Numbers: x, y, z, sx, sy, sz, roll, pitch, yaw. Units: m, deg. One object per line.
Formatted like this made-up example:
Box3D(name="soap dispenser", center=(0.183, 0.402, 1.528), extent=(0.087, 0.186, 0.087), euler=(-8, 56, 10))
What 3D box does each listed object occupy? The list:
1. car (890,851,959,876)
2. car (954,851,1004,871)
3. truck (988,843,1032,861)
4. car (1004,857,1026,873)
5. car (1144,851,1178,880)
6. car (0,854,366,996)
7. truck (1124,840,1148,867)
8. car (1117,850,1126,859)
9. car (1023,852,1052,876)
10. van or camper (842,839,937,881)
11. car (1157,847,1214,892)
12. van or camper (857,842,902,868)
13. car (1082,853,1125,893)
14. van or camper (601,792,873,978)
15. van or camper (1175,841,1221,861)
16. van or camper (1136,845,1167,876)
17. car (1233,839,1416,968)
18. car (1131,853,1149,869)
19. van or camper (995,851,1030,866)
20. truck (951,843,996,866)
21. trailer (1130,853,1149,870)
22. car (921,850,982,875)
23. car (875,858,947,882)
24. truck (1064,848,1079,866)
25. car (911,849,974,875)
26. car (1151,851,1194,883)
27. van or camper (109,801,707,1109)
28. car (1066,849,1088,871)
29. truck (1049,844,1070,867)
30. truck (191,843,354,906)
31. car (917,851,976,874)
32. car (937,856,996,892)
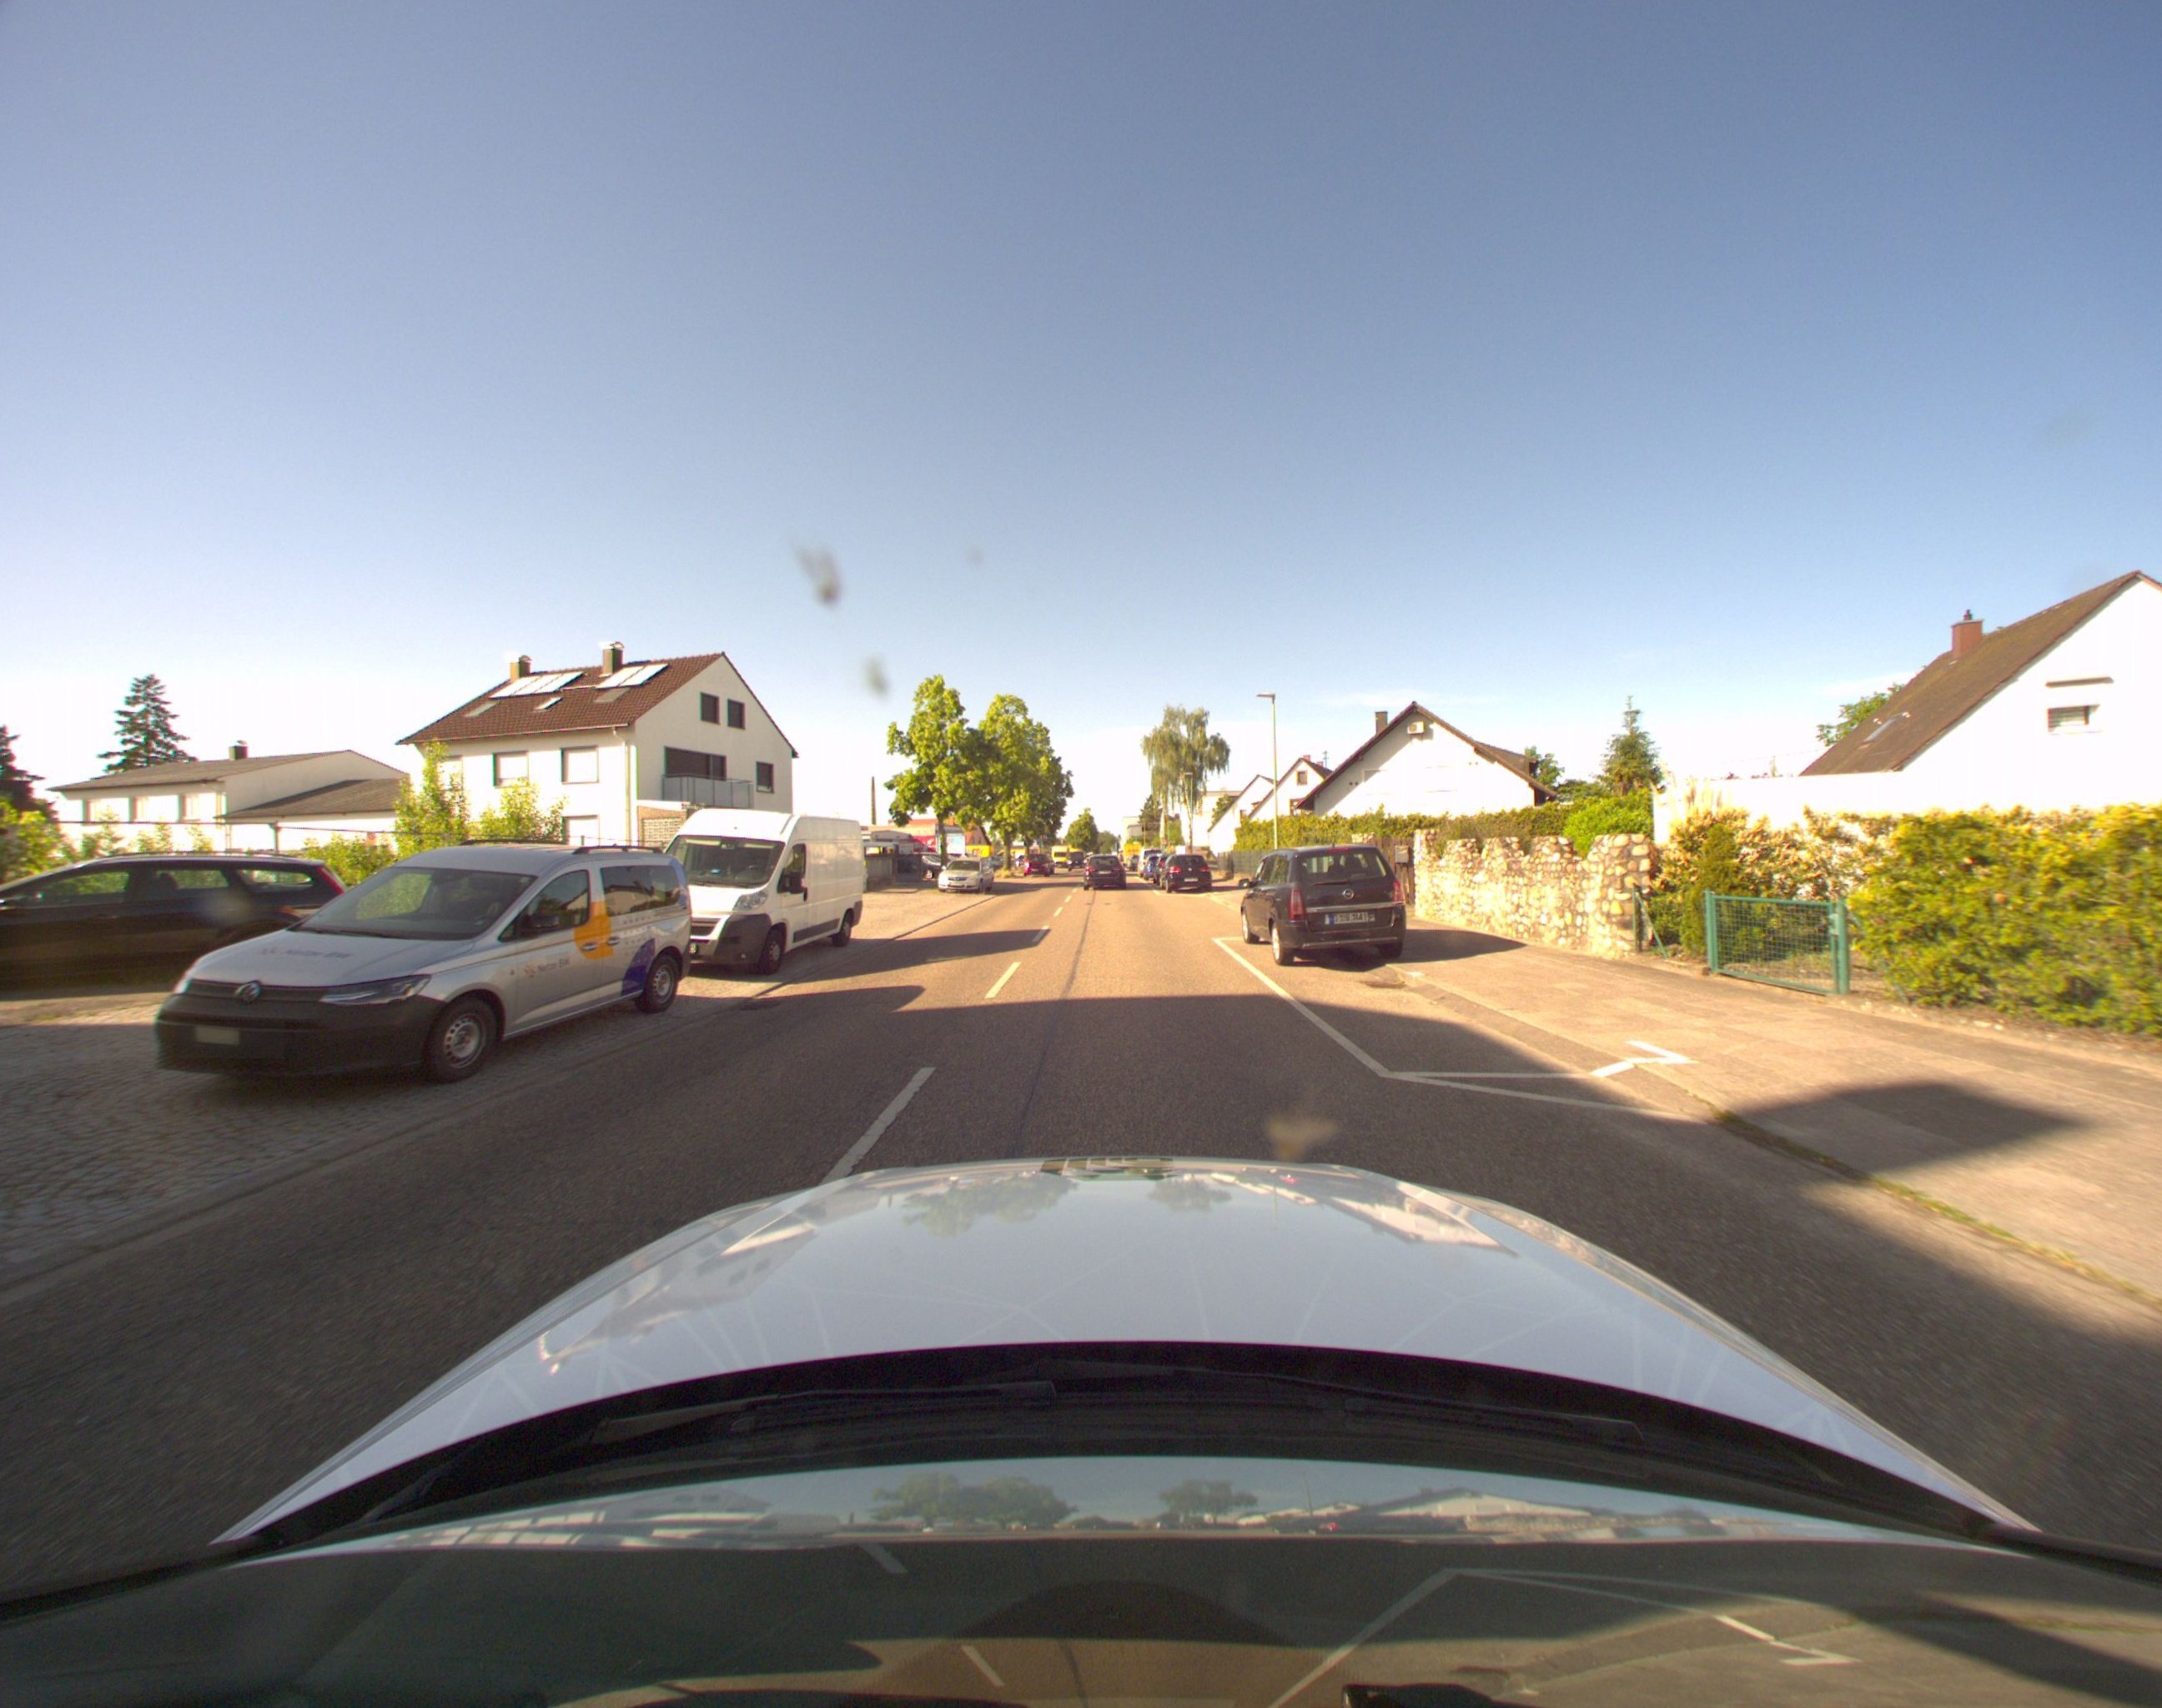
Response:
Box3D(name="car", center=(-10.727, 0.657, 55.899), extent=(4.227, 1.542, 1.769), euler=(-2, 1, 6))
Box3D(name="car", center=(-9.620, 0.651, 76.948), extent=(4.226, 1.728, 1.769), euler=(-1, 0, 7))
Box3D(name="truck", center=(-10.202, -0.324, 116.881), extent=(5.880, 2.567, 2.232), euler=(0, 0, 13))
Box3D(name="car", center=(-6.909, 1.162, 86.030), extent=(1.855, 1.590, 4.276), euler=(-1, -2, 1))
Box3D(name="car", center=(4.459, 0.625, 45.923), extent=(1.712, 1.505, 3.565), euler=(-1, 0, 2))
Box3D(name="car", center=(-11.830, 0.785, 9.998), extent=(1.594, 1.513, 4.415), euler=(-1, 0, 42))
Box3D(name="truck", center=(6.573, -0.028, 98.312), extent=(2.394, 2.936, 7.019), euler=(-3, -1, 2))
Box3D(name="car", center=(8.852, 0.125, 178.442), extent=(1.911, 1.825, 4.081), euler=(-1, 0, 2))
Box3D(name="car", center=(-3.272, 0.748, 62.433), extent=(1.796, 1.752, 4.344), euler=(1, 0, 2))
Box3D(name="van or camper", center=(-11.187, 0.376, 47.621), extent=(4.857, 2.320, 2.252), euler=(-1, -1, 14))
Box3D(name="car", center=(4.045, 0.566, 32.021), extent=(1.770, 1.659, 3.816), euler=(-1, 0, 0))
Box3D(name="van or camper", center=(-21.836, 0.142, 88.672), extent=(2.150, 2.715, 6.291), euler=(-1, 0, 12))
Box3D(name="car", center=(1.000, 0.747, 34.371), extent=(1.705, 1.532, 3.690), euler=(-2, 0, 3))
Box3D(name="van or camper", center=(-5.399, 0.418, 13.882), extent=(2.115, 2.490, 5.556), euler=(1, 0, 1))
Box3D(name="van or camper", center=(15.850, -0.457, 109.966), extent=(5.841, 2.541, 2.271), euler=(-1, 0, -24))
Box3D(name="van or camper", center=(4.468, 0.409, 52.114), extent=(1.712, 1.890, 4.182), euler=(-1, 0, 2))
Box3D(name="car", center=(3.556, 0.638, 12.722), extent=(1.768, 1.659, 4.307), euler=(-1, 0, 3))
Box3D(name="car", center=(5.739, 0.641, 79.333), extent=(1.666, 1.542, 4.049), euler=(-1, 0, 5))
Box3D(name="van or camper", center=(-9.564, 0.636, 113.862), extent=(4.517, 2.013, 2.256), euler=(-1, 0, 8))
Box3D(name="truck", center=(-15.142, 0.076, 115.008), extent=(5.629, 3.119, 2.532), euler=(0, 0, 13))
Box3D(name="trailer", center=(5.309, 0.662, 74.160), extent=(1.620, 1.538, 3.200), euler=(-1, 0, 3))
Box3D(name="car", center=(-9.895, 0.651, 62.535), extent=(4.226, 1.728, 1.769), euler=(-1, 0, 7))
Box3D(name="car", center=(-11.117, 1.035, 53.443), extent=(4.226, 1.542, 1.769), euler=(-1, 0, 7))
Box3D(name="truck", center=(-1.616, 0.468, 141.436), extent=(2.393, 2.983, 6.377), euler=(1, 0, 2))
Box3D(name="car", center=(-10.117, 0.556, 59.622), extent=(4.229, 1.752, 1.768), euler=(-1, 0, 5))
Box3D(name="car", center=(4.407, 0.607, 39.819), extent=(1.713, 1.505, 3.907), euler=(-1, 0, 1))
Box3D(name="van or camper", center=(-5.555, 0.674, 7.666), extent=(1.870, 2.013, 4.282), euler=(2, 0, 2))
Box3D(name="car", center=(-0.379, 0.557, 81.744), extent=(1.887, 2.031, 4.820), euler=(-3, 0, 2))
Box3D(name="truck", center=(-2.819, 0.228, 108.270), extent=(2.394, 2.983, 7.246), euler=(1, 0, 1))
Box3D(name="truck", center=(-34.451, 0.892, 34.696), extent=(6.519, 2.517, 2.192), euler=(-1, 0, 18))
Box3D(name="car", center=(-10.731, 0.663, 65.163), extent=(4.226, 1.728, 1.769), euler=(-1, 0, 7))
Box3D(name="car", center=(-4.878, 0.818, 35.228), extent=(1.679, 1.435, 4.213), euler=(1, 0, 4))
